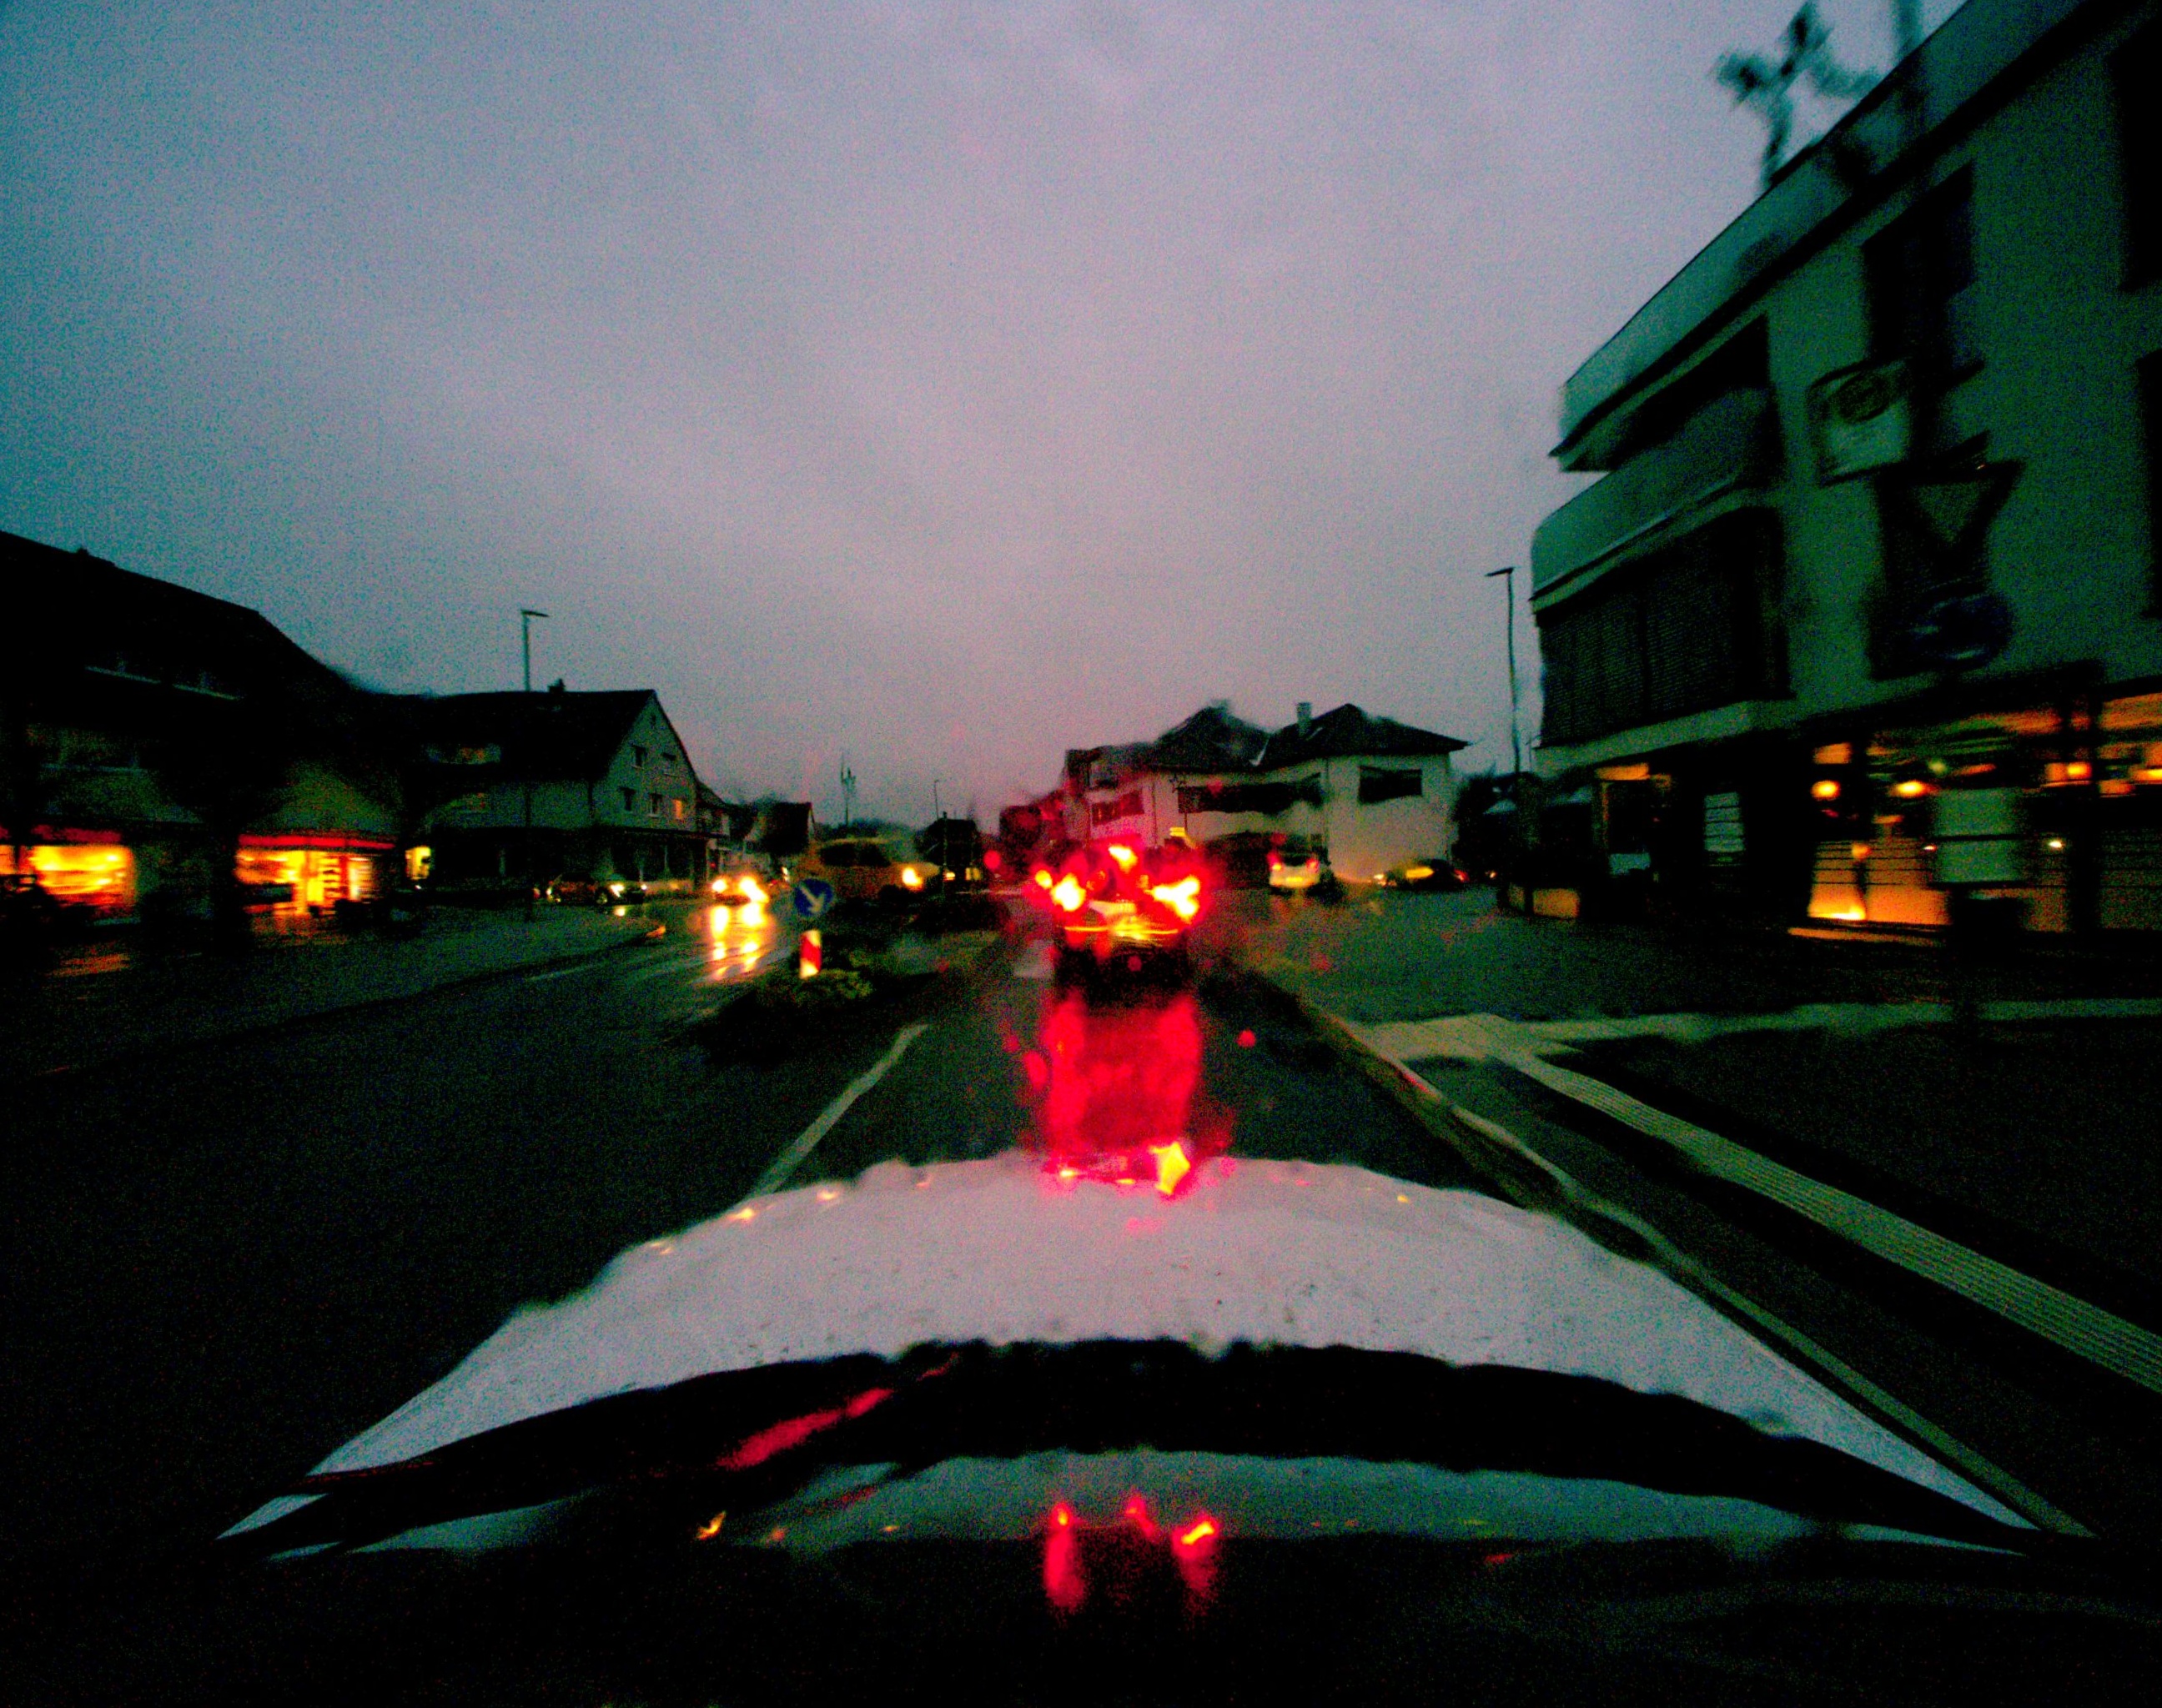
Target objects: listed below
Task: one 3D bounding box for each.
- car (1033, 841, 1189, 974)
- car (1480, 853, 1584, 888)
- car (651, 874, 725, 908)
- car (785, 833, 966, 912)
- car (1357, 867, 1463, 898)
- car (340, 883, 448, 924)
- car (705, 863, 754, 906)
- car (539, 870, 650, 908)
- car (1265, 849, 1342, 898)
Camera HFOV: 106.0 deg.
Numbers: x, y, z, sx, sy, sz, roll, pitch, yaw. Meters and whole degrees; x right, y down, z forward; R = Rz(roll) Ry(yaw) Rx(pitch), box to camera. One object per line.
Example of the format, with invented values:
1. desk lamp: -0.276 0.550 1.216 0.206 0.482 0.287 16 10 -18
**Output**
1. car: 0.484 0.668 12.026 1.907 1.615 3.954 -1 0 3
2. car: 21.287 0.784 38.563 3.973 1.552 1.697 -1 -2 0
3. car: -17.853 1.676 37.204 1.707 1.422 4.005 -1 -3 -5
4. car: -5.786 0.508 22.766 4.837 2.014 2.012 -1 -1 30
5. car: 15.392 1.343 38.240 4.210 1.384 1.849 -1 -3 -2
6. car: -31.404 2.216 37.211 4.576 1.593 1.965 0 0 24
7. car: -12.679 1.064 29.505 1.510 1.411 3.341 -1 -1 -22
8. car: -19.869 1.427 33.311 3.799 1.422 1.722 -2 -3 14
9. car: 7.602 0.616 27.620 1.761 1.539 3.955 -1 0 26
